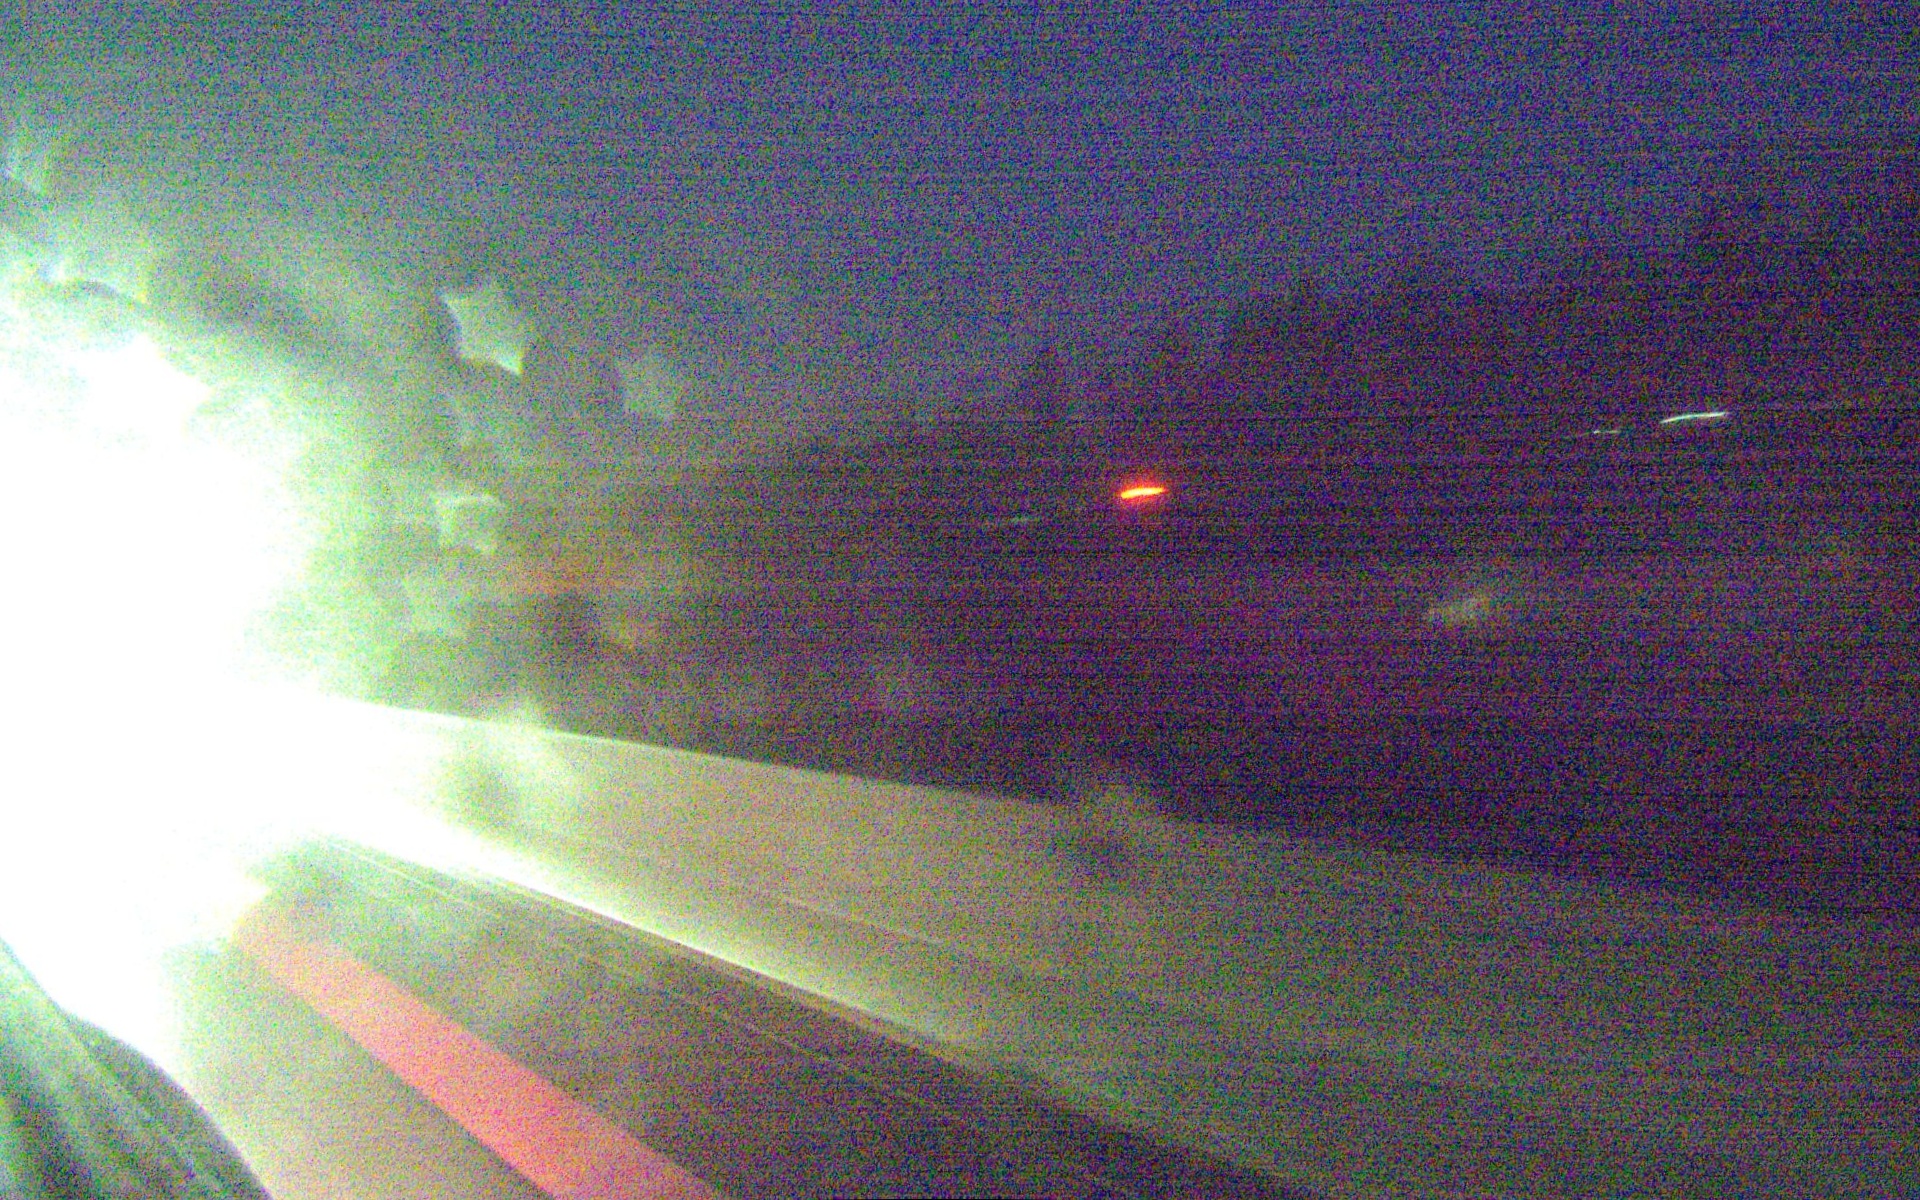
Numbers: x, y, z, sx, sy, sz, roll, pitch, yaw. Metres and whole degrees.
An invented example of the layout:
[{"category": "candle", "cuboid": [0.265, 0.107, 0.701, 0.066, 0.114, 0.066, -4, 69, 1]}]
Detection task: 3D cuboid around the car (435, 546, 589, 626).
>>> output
[{"category": "car", "cuboid": [-11.422, -0.327, 25.713, 3.998, 1.697, 1.974, -3, 3, 41]}]
